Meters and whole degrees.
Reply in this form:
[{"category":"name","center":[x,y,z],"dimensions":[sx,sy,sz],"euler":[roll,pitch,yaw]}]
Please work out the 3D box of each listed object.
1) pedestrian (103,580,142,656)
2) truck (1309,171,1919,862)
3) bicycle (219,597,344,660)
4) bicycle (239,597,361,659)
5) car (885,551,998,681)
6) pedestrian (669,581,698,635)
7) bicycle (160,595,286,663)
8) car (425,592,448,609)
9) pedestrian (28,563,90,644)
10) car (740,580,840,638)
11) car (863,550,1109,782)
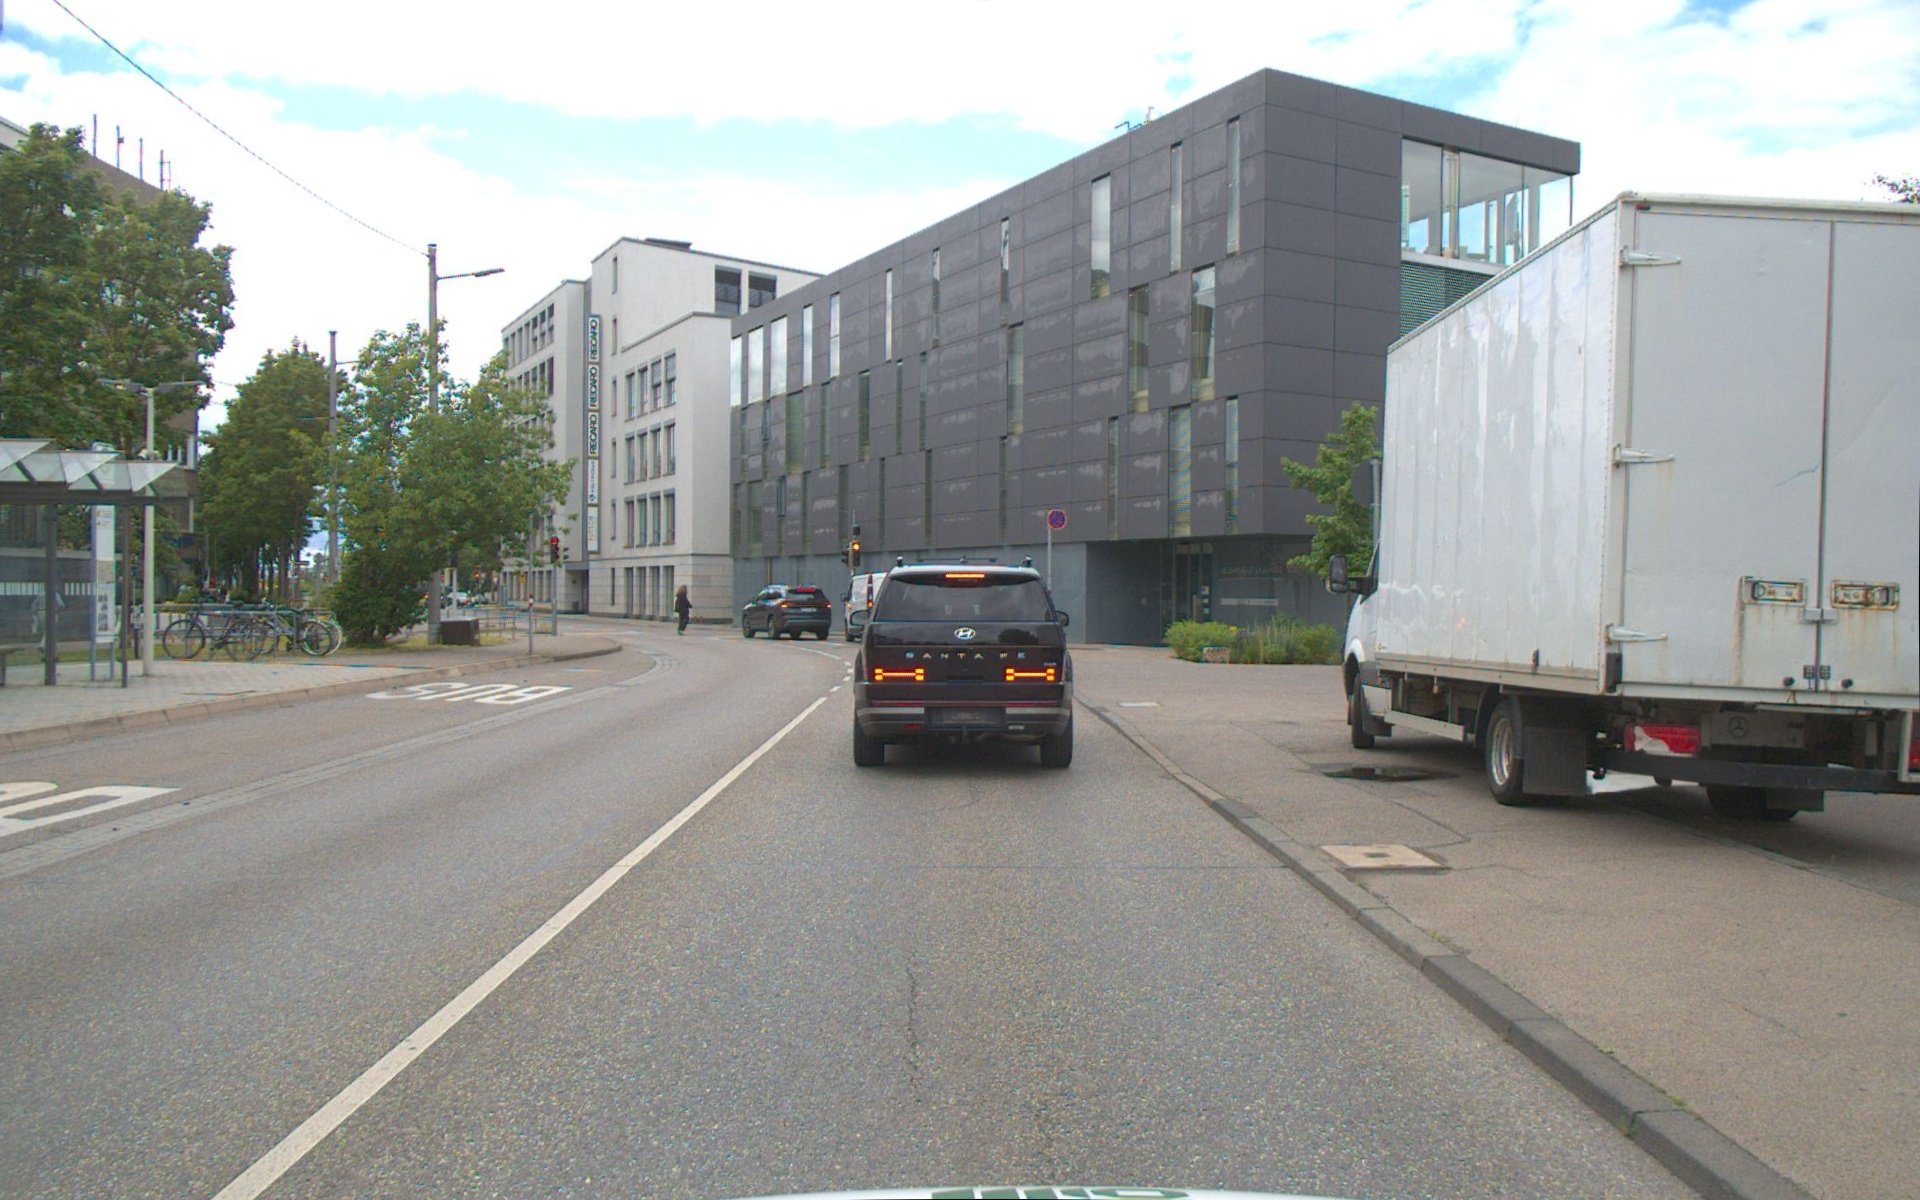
[{"category":"pedestrian","center":[-23.370,0.493,46.146],"dimensions":[0.755,2.049,0.885],"euler":[3,-1,-19]},{"category":"truck","center":[4.700,-0.455,12.491],"dimensions":[2.520,3.587,7.810],"euler":[0,0,0]},{"category":"bicycle","center":[-12.711,0.523,31.027],"dimensions":[2.056,1.125,0.631],"euler":[1,0,0]},{"category":"bicycle","center":[-12.679,0.529,31.796],"dimensions":[2.056,1.125,0.631],"euler":[1,0,0]},{"category":"car","center":[-0.333,0.232,28.620],"dimensions":[1.818,2.069,4.436],"euler":[0,1,-1]},{"category":"pedestrian","center":[-9.469,0.284,56.627],"dimensions":[0.922,1.832,0.589],"euler":[0,0,-13]},{"category":"bicycle","center":[-12.820,0.498,28.798],"dimensions":[1.889,1.125,0.587],"euler":[1,0,0]},{"category":"car","center":[-45.566,0.038,143.832],"dimensions":[1.870,1.512,3.979],"euler":[0,0,-18]},{"category":"pedestrian","center":[-20.616,0.092,37.865],"dimensions":[0.813,1.795,0.906],"euler":[3,-1,-1]},{"category":"car","center":[-5.372,0.276,51.820],"dimensions":[1.824,1.706,4.340],"euler":[-1,0,-25]},{"category":"car","center":[0.086,0.510,15.042],"dimensions":[1.877,1.755,4.167],"euler":[2,0,-4]}]
